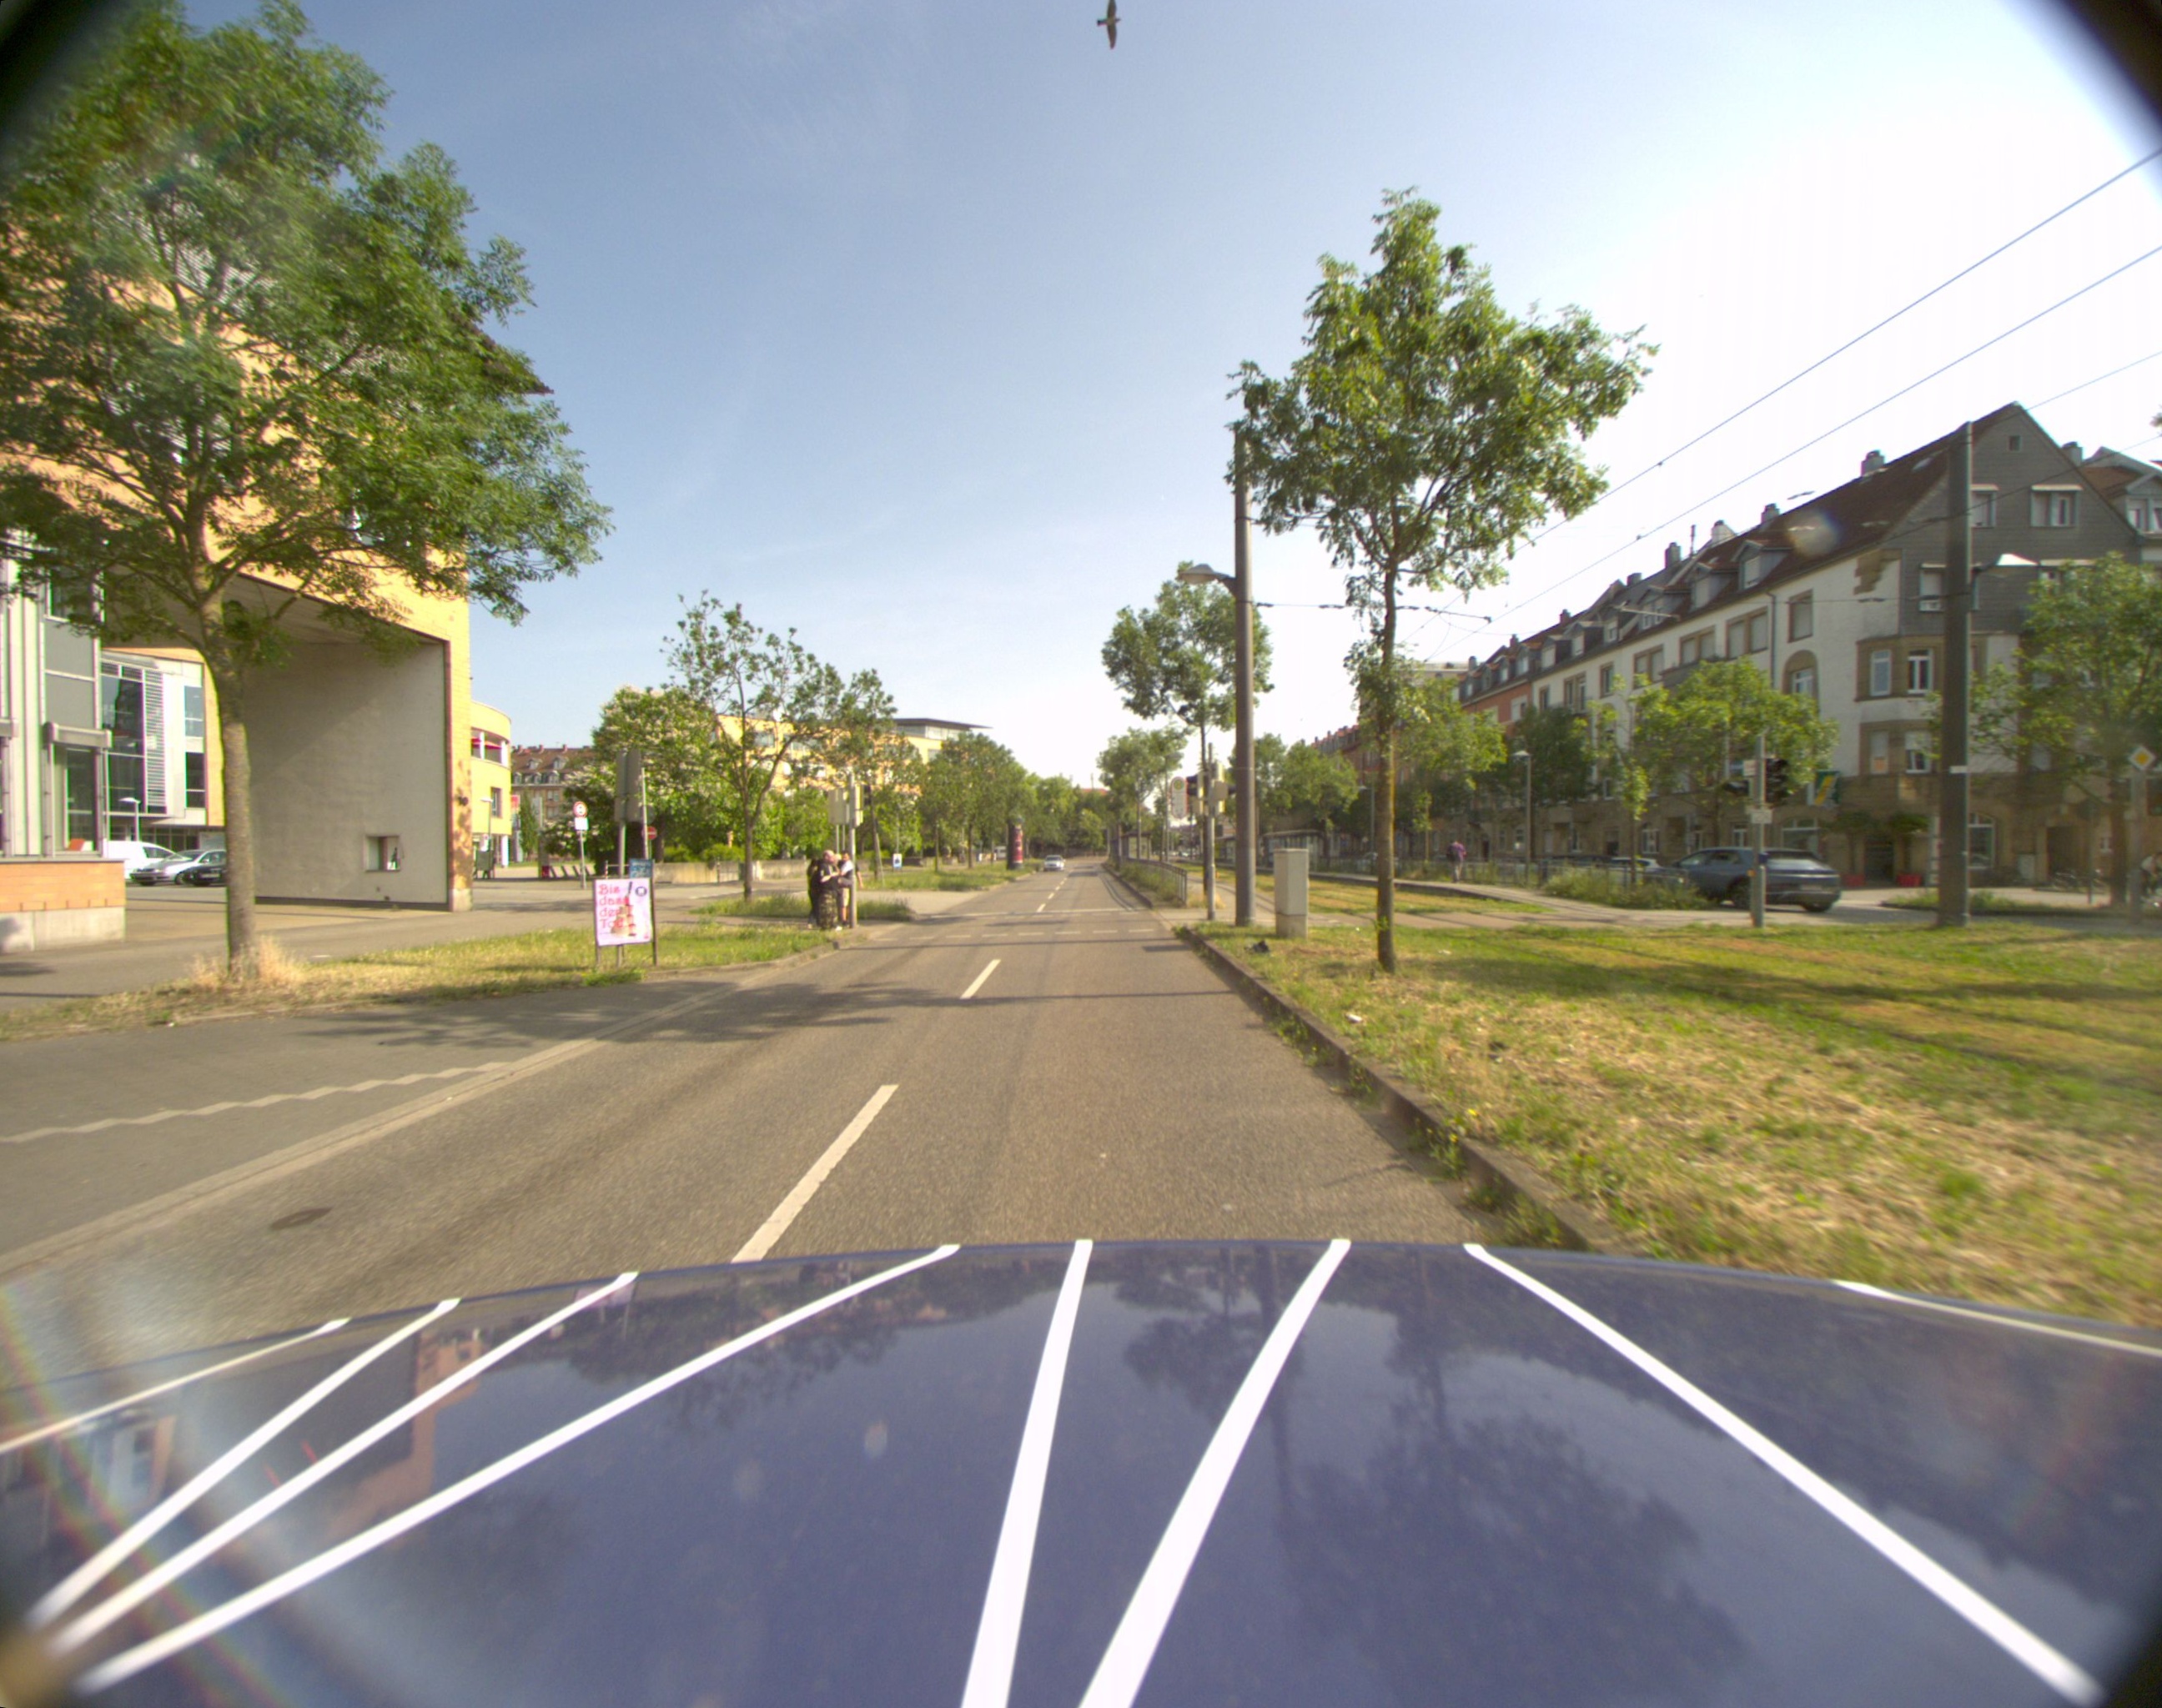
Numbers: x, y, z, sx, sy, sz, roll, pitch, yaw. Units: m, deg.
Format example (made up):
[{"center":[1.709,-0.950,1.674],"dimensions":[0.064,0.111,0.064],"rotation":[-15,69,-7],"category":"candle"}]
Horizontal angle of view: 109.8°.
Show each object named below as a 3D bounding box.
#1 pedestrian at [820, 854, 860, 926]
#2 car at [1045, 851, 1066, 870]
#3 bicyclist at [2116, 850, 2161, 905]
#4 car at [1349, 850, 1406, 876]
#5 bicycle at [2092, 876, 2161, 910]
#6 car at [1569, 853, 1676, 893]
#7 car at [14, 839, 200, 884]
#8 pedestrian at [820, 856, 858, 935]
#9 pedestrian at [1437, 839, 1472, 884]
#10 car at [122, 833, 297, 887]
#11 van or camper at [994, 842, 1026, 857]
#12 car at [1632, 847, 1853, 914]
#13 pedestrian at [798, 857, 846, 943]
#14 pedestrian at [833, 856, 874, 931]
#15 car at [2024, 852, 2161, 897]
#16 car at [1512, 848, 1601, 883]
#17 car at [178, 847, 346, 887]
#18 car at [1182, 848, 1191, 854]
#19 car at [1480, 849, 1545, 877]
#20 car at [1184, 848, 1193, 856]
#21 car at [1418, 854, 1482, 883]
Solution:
[{"center":[-5.650,0.838,17.829],"dimensions":[0.707,1.637,0.689],"rotation":[1,1,-2],"category":"pedestrian"},{"center":[-2.174,0.515,65.970],"dimensions":[1.629,1.476,3.365],"rotation":[-3,1,-1],"category":"car"},{"center":[31.684,0.670,22.481],"dimensions":[0.848,1.550,0.902],"rotation":[-3,1,2],"category":"bicyclist"},{"center":[18.045,0.496,46.513],"dimensions":[1.776,1.432,4.423],"rotation":[1,1,1],"category":"car"},{"center":[31.699,1.152,22.503],"dimensions":[0.857,0.860,2.019],"rotation":[-3,1,2],"category":"bicycle"},{"center":[25.587,0.918,36.017],"dimensions":[3.989,1.716,2.003],"rotation":[-2,1,35],"category":"car"},{"center":[-39.522,0.255,31.032],"dimensions":[1.771,1.631,4.419],"rotation":[-3,1,1],"category":"car"},{"center":[-5.129,0.867,16.123],"dimensions":[0.636,1.637,0.608],"rotation":[1,1,-3],"category":"pedestrian"},{"center":[13.850,0.263,28.180],"dimensions":[0.886,1.645,0.852],"rotation":[0,1,1],"category":"pedestrian"},{"center":[-36.122,0.190,31.730],"dimensions":[1.998,2.002,4.459],"rotation":[-3,1,1],"category":"car"},{"center":[-13.474,-0.905,144.618],"dimensions":[5.801,2.678,2.407],"rotation":[-2,1,-3],"category":"van or camper"},{"center":[17.131,0.612,20.068],"dimensions":[1.839,1.524,4.576],"rotation":[0,1,1],"category":"car"},{"center":[-5.063,0.884,14.877],"dimensions":[0.707,1.637,0.689],"rotation":[1,1,-2],"category":"pedestrian"},{"center":[-5.089,0.869,17.011],"dimensions":[0.707,1.637,0.689],"rotation":[1,1,-2],"category":"pedestrian"},{"center":[40.803,0.794,30.510],"dimensions":[3.823,1.574,1.604],"rotation":[-3,1,2],"category":"car"},{"center":[26.118,0.648,41.789],"dimensions":[3.989,1.716,2.003],"rotation":[-2,1,35],"category":"car"},{"center":[-33.093,0.474,30.926],"dimensions":[1.598,1.392,4.704],"rotation":[-3,1,1],"category":"car"},{"center":[27.556,-0.731,198.844],"dimensions":[1.672,1.505,3.999],"rotation":[0,1,1],"category":"car"},{"center":[27.772,0.528,49.082],"dimensions":[1.907,1.610,3.999],"rotation":[-3,1,1],"category":"car"},{"center":[24.721,-0.418,174.614],"dimensions":[1.699,1.787,4.003],"rotation":[-2,1,12],"category":"car"},{"center":[20.887,0.808,43.177],"dimensions":[1.672,1.505,3.999],"rotation":[0,1,1],"category":"car"}]
